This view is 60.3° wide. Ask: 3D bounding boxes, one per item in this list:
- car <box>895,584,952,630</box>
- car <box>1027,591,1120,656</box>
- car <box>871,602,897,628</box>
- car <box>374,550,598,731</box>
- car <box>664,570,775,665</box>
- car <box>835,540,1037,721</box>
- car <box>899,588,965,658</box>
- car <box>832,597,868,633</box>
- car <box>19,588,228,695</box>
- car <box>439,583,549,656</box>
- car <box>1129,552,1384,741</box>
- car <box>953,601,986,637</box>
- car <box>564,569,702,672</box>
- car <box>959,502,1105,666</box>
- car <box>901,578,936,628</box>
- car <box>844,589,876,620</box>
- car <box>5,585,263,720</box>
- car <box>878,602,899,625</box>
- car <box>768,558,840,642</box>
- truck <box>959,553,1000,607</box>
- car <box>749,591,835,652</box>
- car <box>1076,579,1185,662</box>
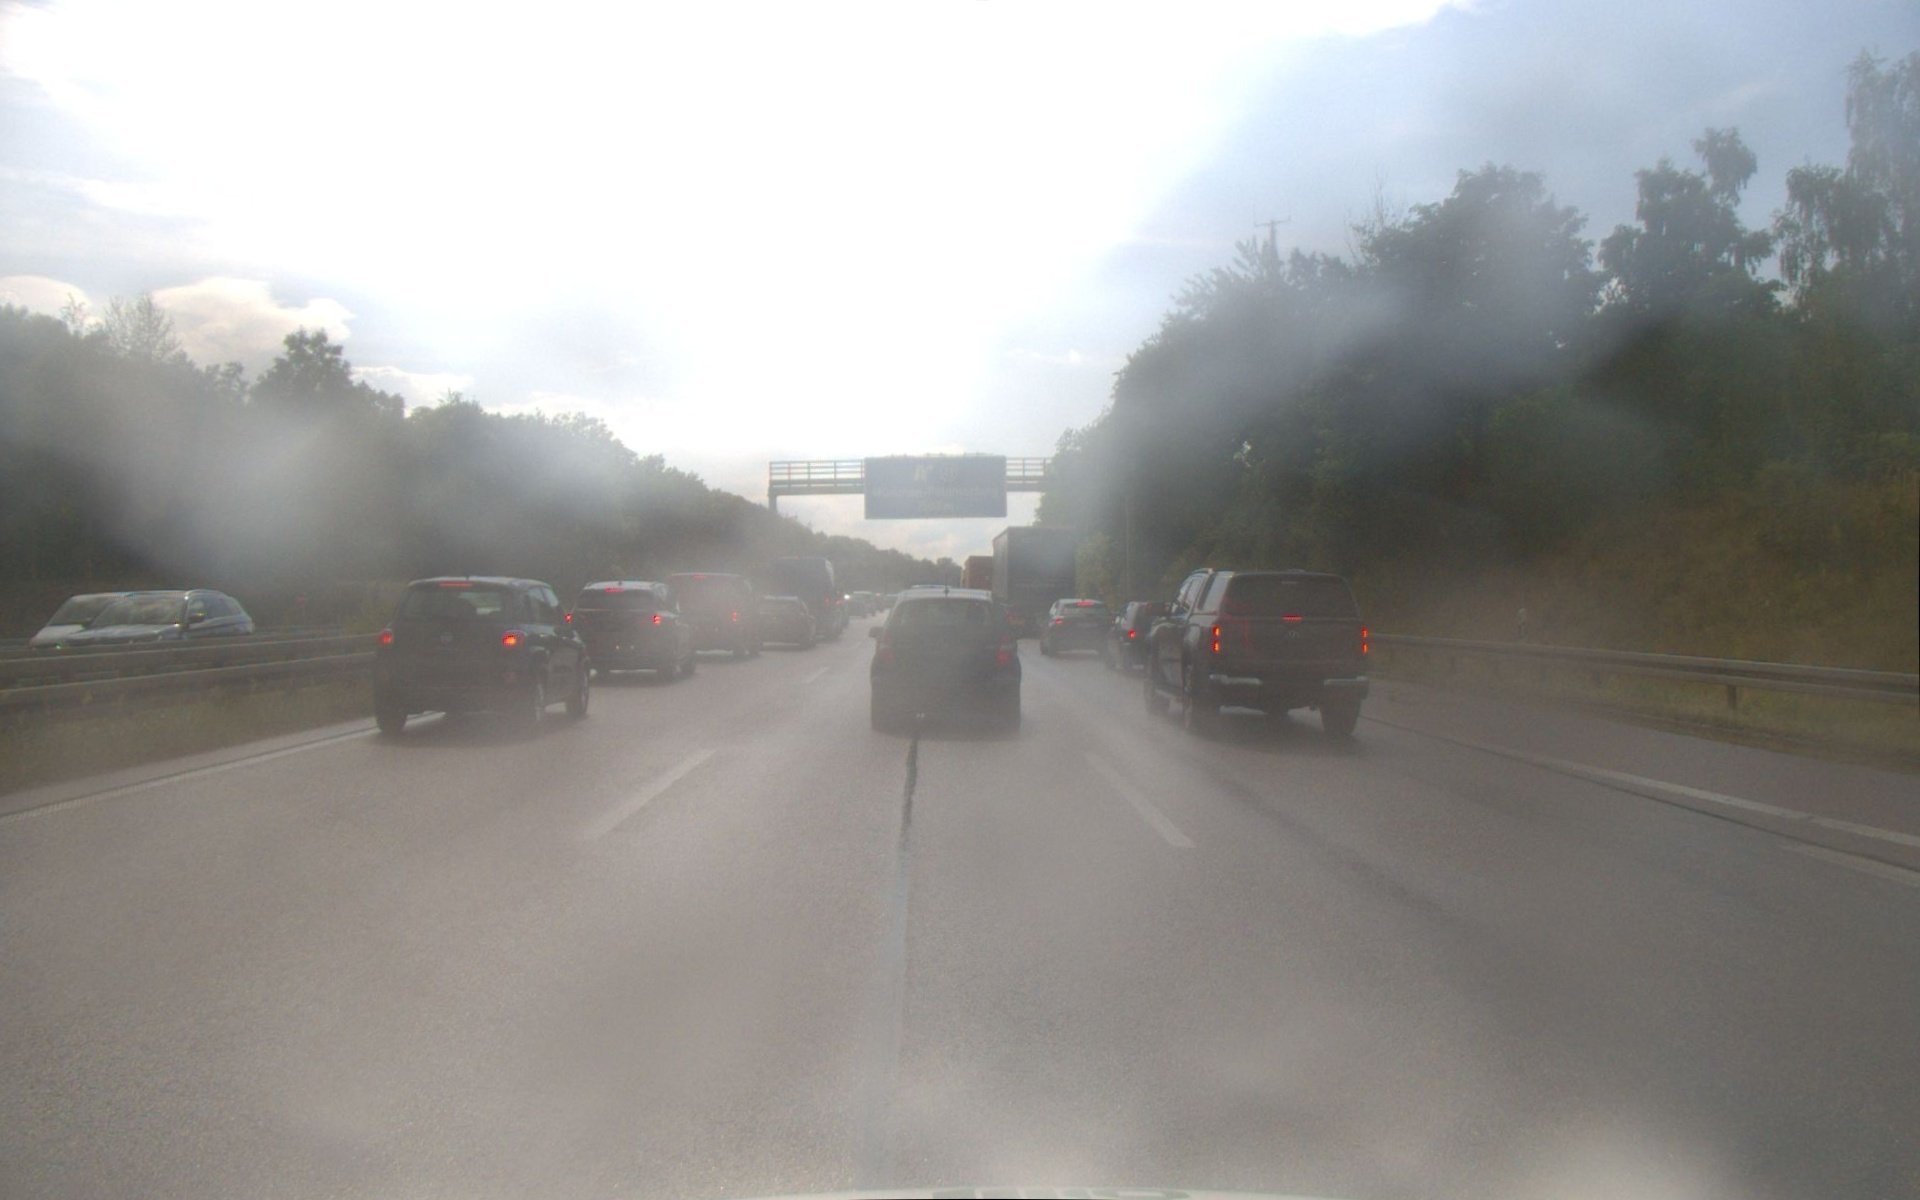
[{"bbox_3d":[-1.293,0.254,57.674,1.828,1.542,3.973,1,0,-3],"label":"car"},{"bbox_3d":[2.818,0.576,41.753,1.828,1.542,3.973,1,0,-3],"label":"car"},{"bbox_3d":[-6.406,1.235,139.508,1.953,2.153,4.887,1,0,-1],"label":"car"},{"bbox_3d":[-5.301,0.430,18.987,1.659,1.836,3.972,1,0,-4],"label":"car"},{"bbox_3d":[-5.591,0.405,38.964,1.938,2.090,4.755,1,0,-1],"label":"car"},{"bbox_3d":[-0.378,0.357,20.841,2.229,1.989,4.818,1,0,-3],"label":"car"},{"bbox_3d":[-0.806,0.614,45.342,1.659,1.836,3.973,1,0,-3],"label":"car"},{"bbox_3d":[-6.913,0.929,104.306,1.953,2.153,4.887,1,0,-1],"label":"car"},{"bbox_3d":[-17.442,0.826,34.788,2.130,2.082,4.650,1,0,-2],"label":"car"},{"bbox_3d":[-14.113,0.581,50.392,2.010,2.082,5.207,1,0,-2],"label":"car"},{"bbox_3d":[3.382,0.502,20.068,1.902,1.952,5.650,1,0,-2],"label":"car"},{"bbox_3d":[0.553,1.183,103.937,1.953,2.153,4.887,1,0,-1],"label":"car"},{"bbox_3d":[-5.720,0.347,29.432,1.871,1.665,4.612,0,0,-5],"label":"car"},{"bbox_3d":[2.634,-0.532,68.659,4.316,5.932,16.805,1,0,-3],"label":"car"},{"bbox_3d":[-2.401,0.181,97.114,1.953,2.794,5.258,1,0,-1],"label":"car"},{"bbox_3d":[-6.996,0.316,116.163,1.953,2.153,4.887,1,0,-1],"label":"car"},{"bbox_3d":[-13.806,0.830,28.018,2.130,2.082,4.650,1,0,-2],"label":"car"},{"bbox_3d":[-7.124,1.349,165.233,1.953,2.153,4.887,1,0,-1],"label":"car"},{"bbox_3d":[-5.161,0.026,55.345,1.953,2.661,5.258,1,0,-1],"label":"car"},{"bbox_3d":[1.359,-1.375,116.973,2.719,3.695,5.915,1,0,-1],"label":"truck"},{"bbox_3d":[-4.647,0.596,46.275,1.953,1.592,4.755,1,0,-1],"label":"car"},{"bbox_3d":[3.351,0.401,33.077,1.559,1.542,3.973,1,0,-3],"label":"car"}]
